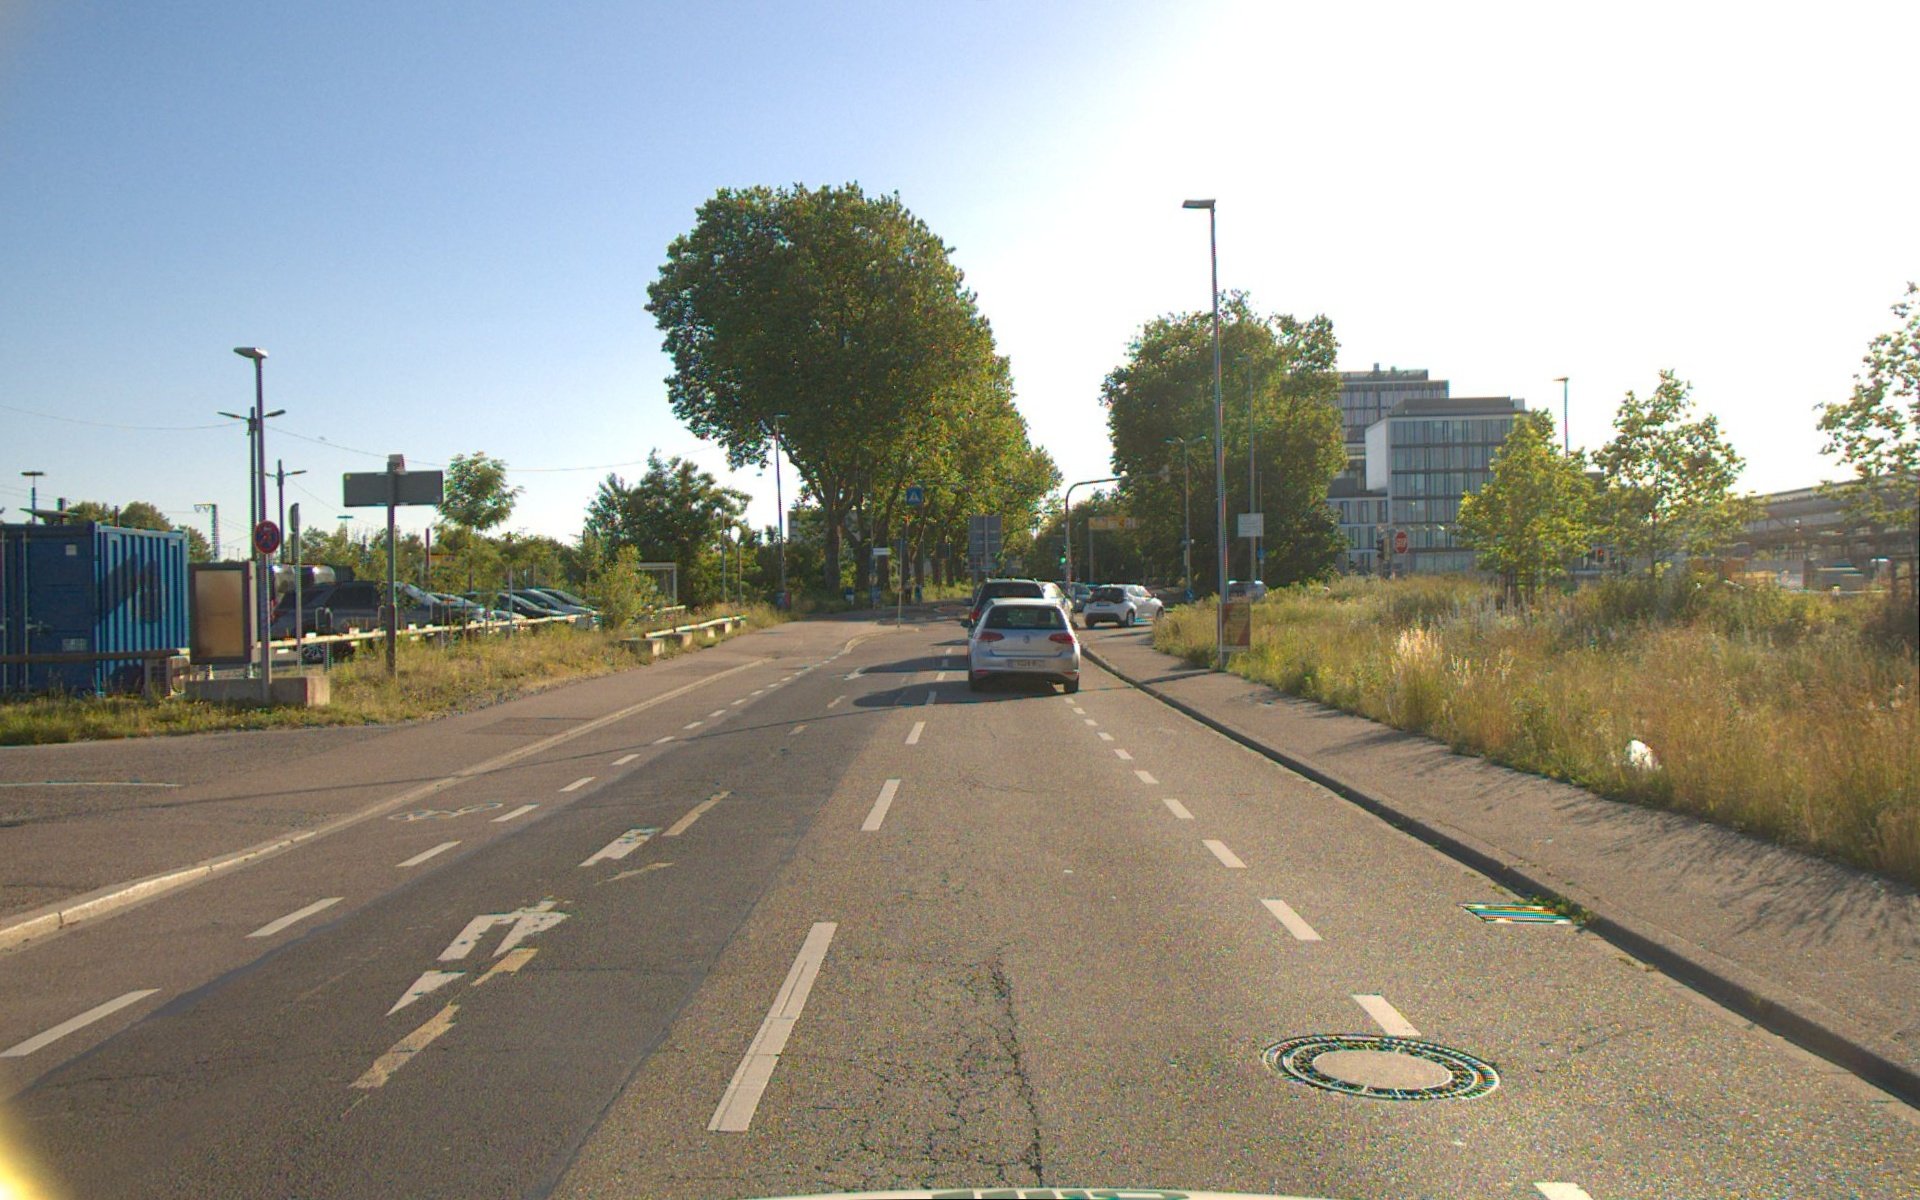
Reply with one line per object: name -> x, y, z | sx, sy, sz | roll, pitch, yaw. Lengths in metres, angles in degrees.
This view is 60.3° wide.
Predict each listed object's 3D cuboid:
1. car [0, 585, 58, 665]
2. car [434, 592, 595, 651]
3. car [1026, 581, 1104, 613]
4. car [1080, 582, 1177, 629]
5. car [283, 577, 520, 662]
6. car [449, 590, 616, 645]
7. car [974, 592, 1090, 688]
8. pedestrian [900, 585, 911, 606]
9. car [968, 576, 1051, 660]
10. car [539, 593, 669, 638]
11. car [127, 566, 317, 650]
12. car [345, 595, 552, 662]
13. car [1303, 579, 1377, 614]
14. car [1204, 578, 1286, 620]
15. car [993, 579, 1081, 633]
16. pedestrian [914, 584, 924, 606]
car -> -23.622, 0.581, 38.472 | 4.233, 1.823, 1.878 | 0, 0, -1
car -> -12.454, 0.584, 46.445 | 4.005, 1.585, 1.878 | 0, 0, -1
car -> 5.456, -0.148, 86.336 | 1.979, 1.624, 3.948 | 0, 0, -37
car -> 6.104, 0.186, 59.602 | 1.865, 1.624, 3.988 | 0, 0, 33
car -> -12.737, 0.434, 37.954 | 4.746, 1.867, 2.000 | 0, 0, -1
car -> -12.685, 0.498, 49.252 | 4.449, 1.585, 1.878 | 0, 0, -1
car -> 1.157, 0.595, 27.071 | 1.753, 1.445, 4.001 | 0, 0, 2
pedestrian -> -3.664, -0.313, 111.510 | 0.664, 1.439, 0.684 | 0, 0, 1
car -> 1.149, 0.371, 37.797 | 1.781, 1.799, 4.630 | 0, 0, 2
car -> -12.985, 0.554, 60.546 | 4.335, 1.585, 1.878 | 0, 0, -1
car -> -22.840, 0.239, 51.355 | 4.826, 2.503, 2.319 | 0, 0, -1
car -> -12.624, 0.682, 41.027 | 4.500, 1.585, 2.000 | 0, 0, -1
car -> 18.983, -0.189, 82.551 | 2.129, 1.713, 3.981 | 0, 0, 38
car -> 12.258, -0.051, 70.874 | 2.124, 1.713, 3.990 | 0, 0, 32
car -> 2.381, 0.149, 50.008 | 1.873, 1.556, 4.411 | 0, 0, 13
pedestrian -> -2.746, -0.321, 111.367 | 0.664, 1.439, 0.684 | 0, 0, 1
